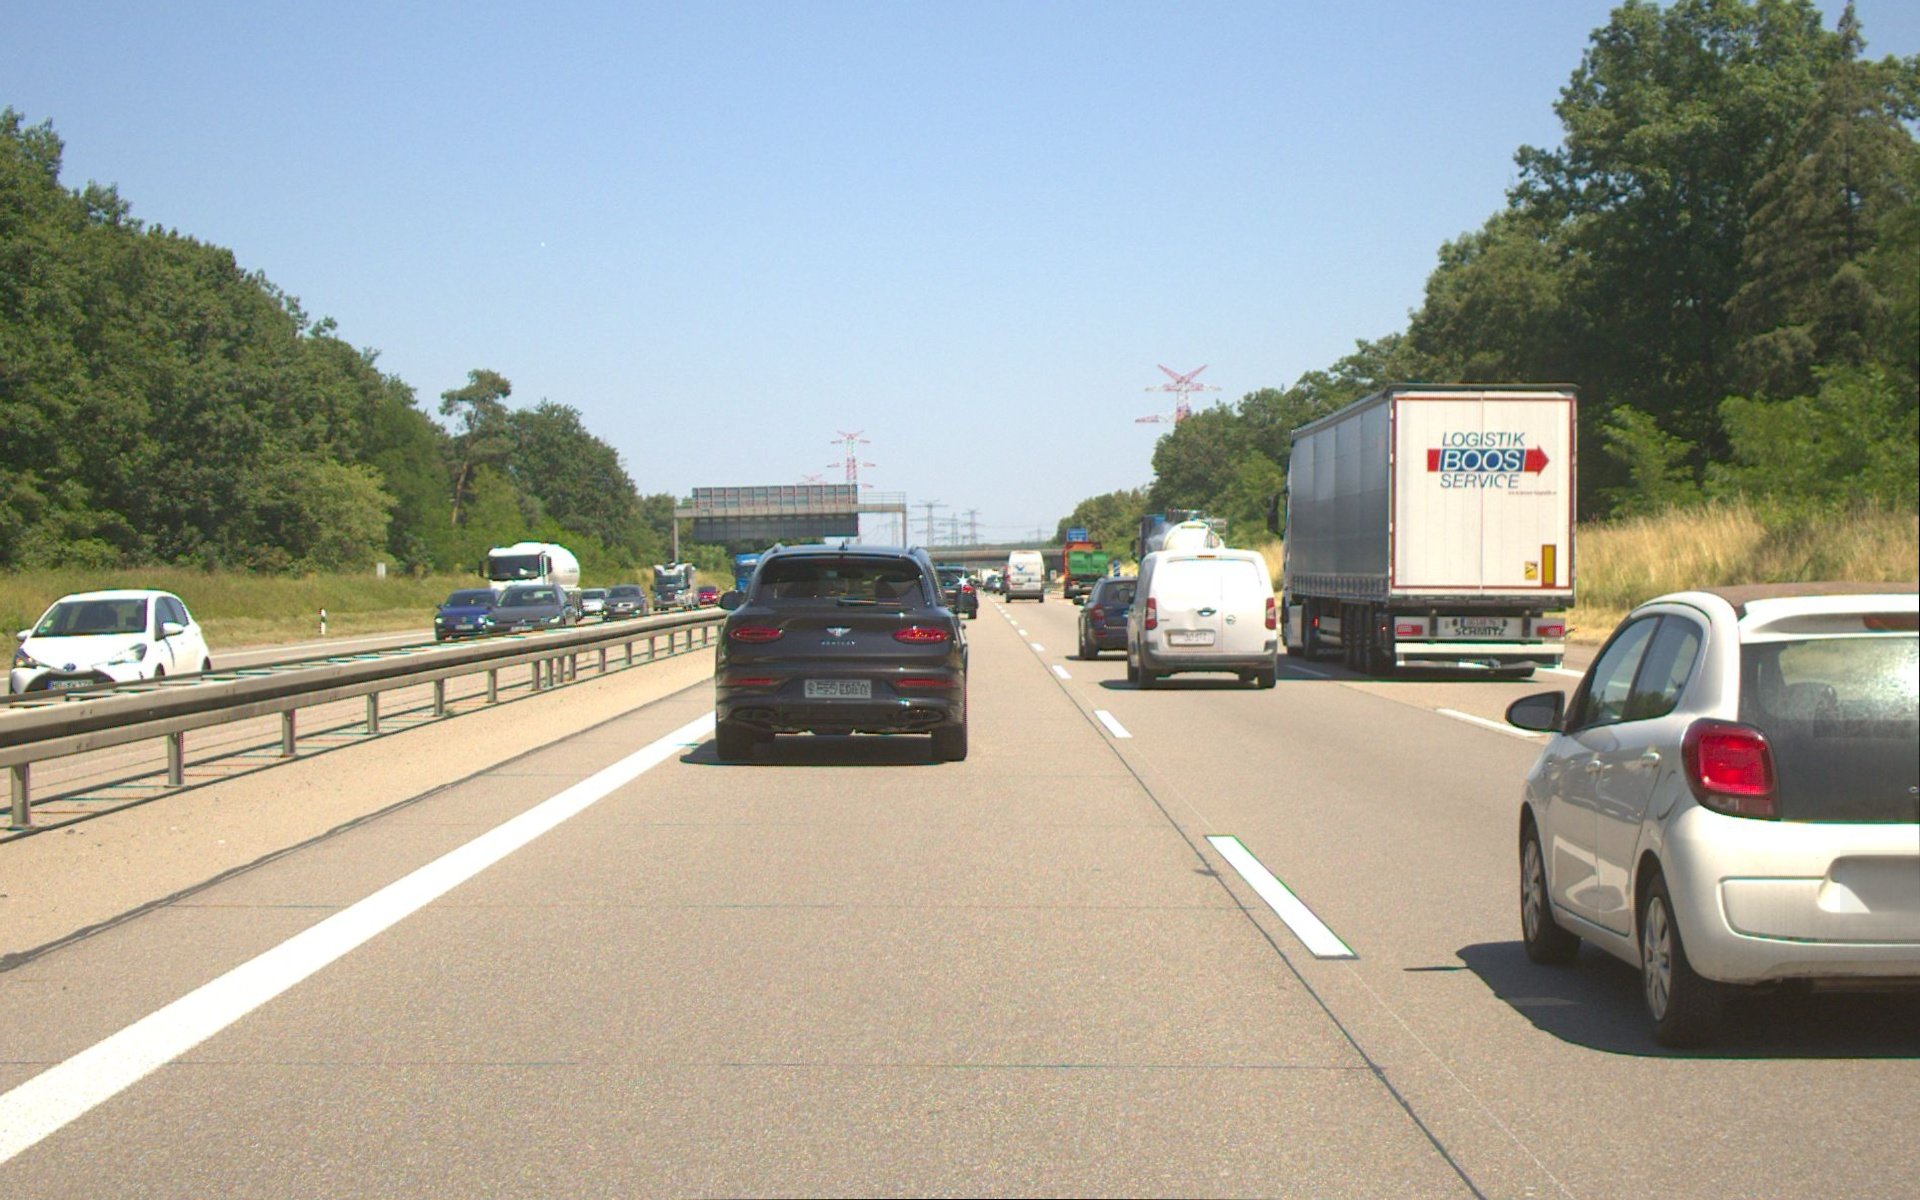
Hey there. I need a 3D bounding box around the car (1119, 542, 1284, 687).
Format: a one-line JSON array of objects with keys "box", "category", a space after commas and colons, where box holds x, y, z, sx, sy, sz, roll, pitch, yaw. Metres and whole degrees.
[{"box": [3.185, 0.166, 46.131, 1.814, 1.821, 5.111, 0, 0, 0], "category": "car"}]

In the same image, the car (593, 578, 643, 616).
[{"box": [-14.040, -0.130, 141.255, 1.633, 1.468, 3.937, -3, 1, 0], "category": "car"}]

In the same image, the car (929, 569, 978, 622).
[{"box": [-0.207, -0.168, 114.764, 1.626, 1.749, 3.805, 0, 1, 0], "category": "car"}]

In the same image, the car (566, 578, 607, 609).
[{"box": [-18.631, -0.323, 171.651, 1.569, 1.460, 4.036, -3, 1, -1], "category": "car"}]

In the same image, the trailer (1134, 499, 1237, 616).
[{"box": [7.759, -1.426, 119.629, 2.682, 3.824, 12.010, 1, 0, 0], "category": "trailer"}]

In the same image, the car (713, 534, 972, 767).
[{"box": [-0.916, 0.326, 28.768, 1.940, 1.746, 5.814, 0, 1, -1], "category": "car"}]

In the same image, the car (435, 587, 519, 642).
[{"box": [-14.000, 0.405, 99.881, 1.674, 1.438, 5.136, -3, 1, 0], "category": "car"}]

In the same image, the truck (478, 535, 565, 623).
[{"box": [-18.056, -0.889, 141.912, 2.682, 3.422, 6.145, -3, 0, 0], "category": "truck"}]

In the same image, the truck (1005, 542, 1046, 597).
[{"box": [3.551, -1.664, 188.505, 2.060, 2.904, 7.003, 0, 0, 0], "category": "truck"}]

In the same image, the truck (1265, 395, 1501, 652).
[{"box": [7.249, -1.275, 59.820, 3.286, 4.205, 6.008, 1, 0, 0], "category": "truck"}]

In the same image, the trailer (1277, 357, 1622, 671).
[{"box": [7.245, -1.201, 53.249, 3.286, 4.205, 13.565, 1, 0, 0], "category": "trailer"}]

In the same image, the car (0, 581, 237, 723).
[{"box": [-10.015, 0.575, 41.172, 1.655, 1.495, 4.600, -3, 1, 0], "category": "car"}]

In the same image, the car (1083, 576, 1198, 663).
[{"box": [3.129, 0.315, 60.086, 1.774, 1.467, 3.872, 0, 0, 0], "category": "car"}]

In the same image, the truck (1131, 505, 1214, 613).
[{"box": [7.733, -1.482, 125.352, 2.682, 3.824, 4.444, 1, 0, 0], "category": "truck"}]

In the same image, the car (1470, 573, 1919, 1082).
[{"box": [2.961, 0.659, 12.182, 1.708, 1.490, 4.024, 0, 1, 0], "category": "car"}]

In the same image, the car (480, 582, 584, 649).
[{"box": [-9.873, 0.338, 79.637, 1.709, 1.406, 5.083, -3, 0, 0], "category": "car"}]

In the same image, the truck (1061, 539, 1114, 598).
[{"box": [8.275, -2.023, 224.909, 2.989, 3.716, 10.090, 1, 0, 0], "category": "truck"}]

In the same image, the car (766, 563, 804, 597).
[{"box": [-10.439, -1.208, 205.199, 1.995, 1.940, 5.742, -3, 1, -1], "category": "car"}]
